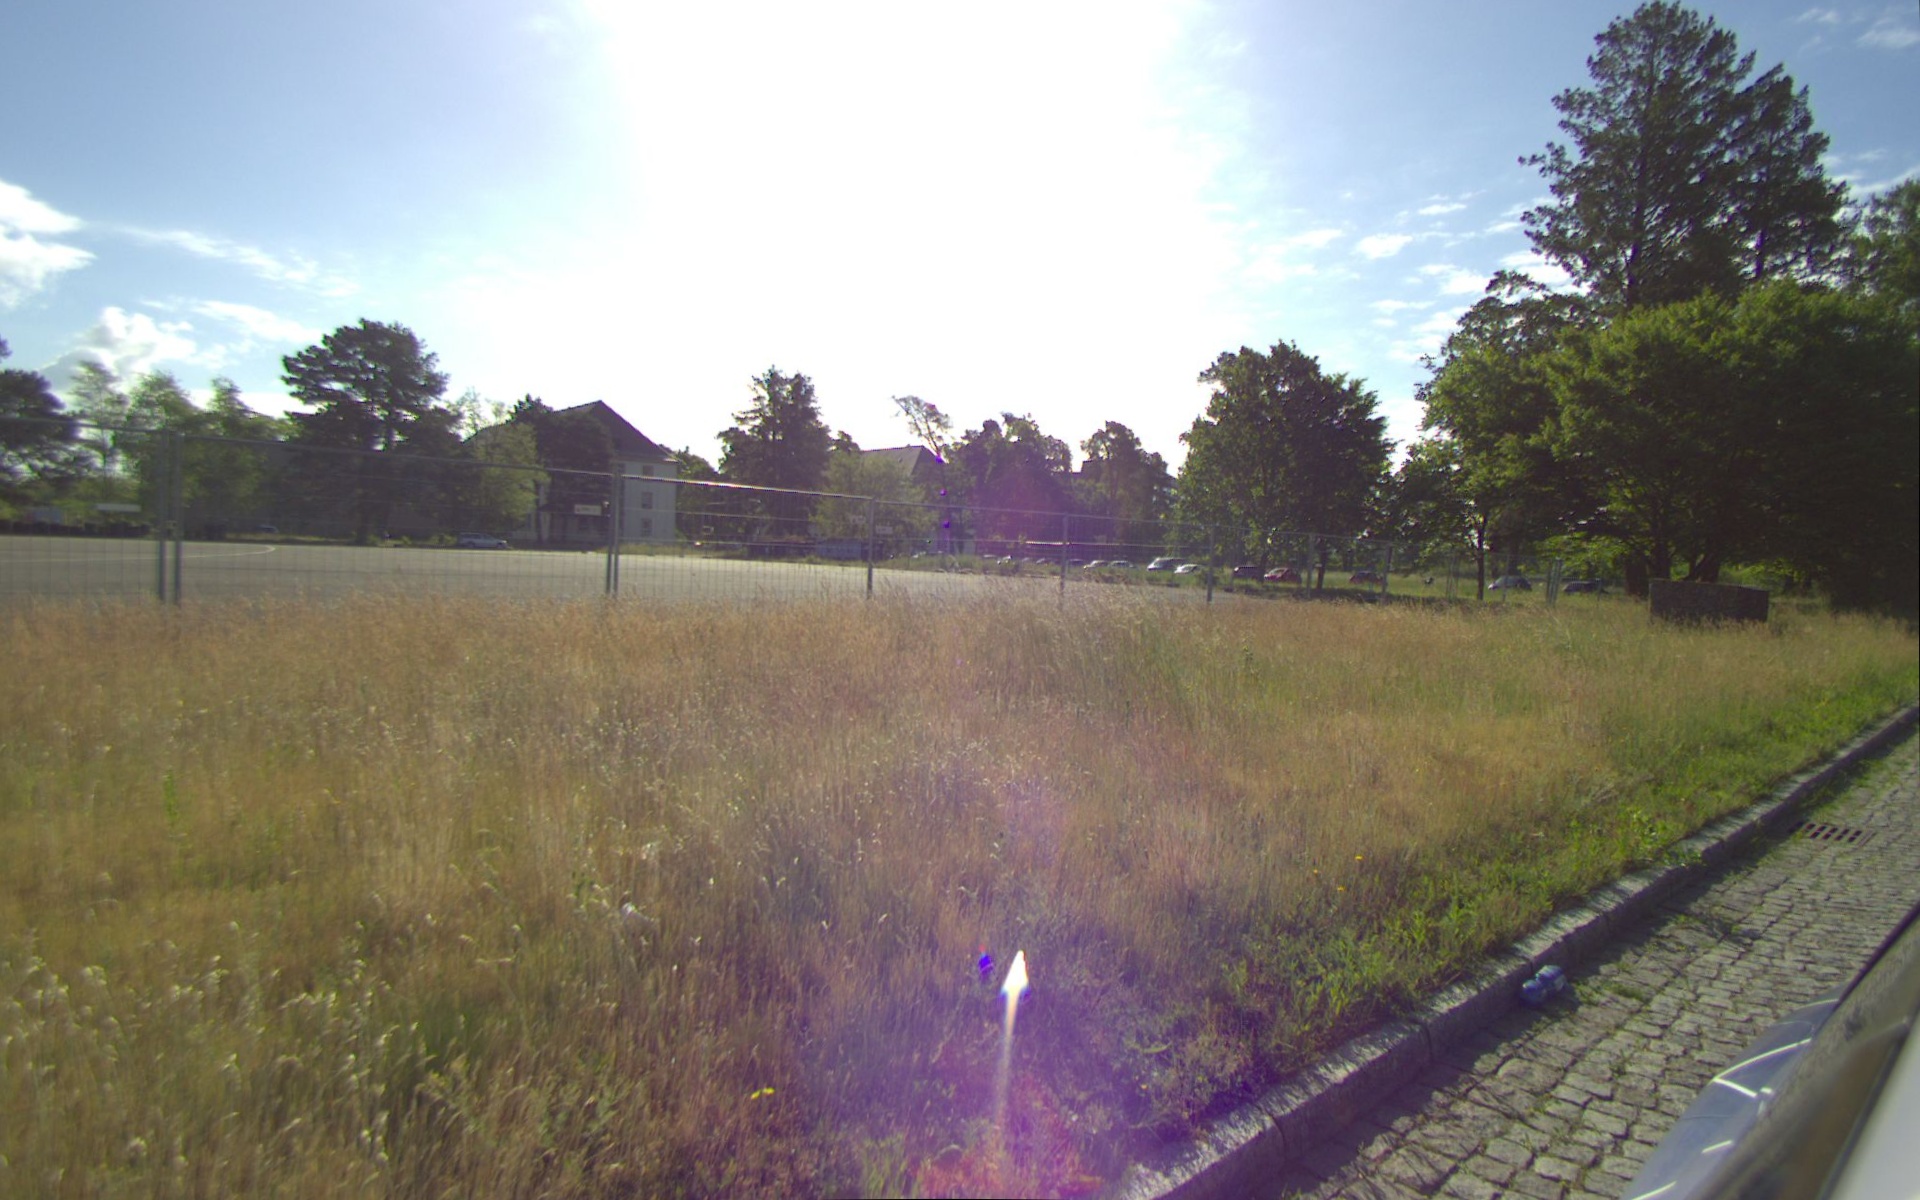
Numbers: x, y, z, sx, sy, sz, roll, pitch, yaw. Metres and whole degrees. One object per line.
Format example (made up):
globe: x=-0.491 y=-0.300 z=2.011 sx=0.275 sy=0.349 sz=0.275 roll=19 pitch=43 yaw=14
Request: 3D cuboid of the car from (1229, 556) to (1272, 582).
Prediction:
car: x=24.423 y=-2.608 z=85.035 sx=1.992 sy=2.038 sz=3.942 roll=4 pitch=3 yaw=40

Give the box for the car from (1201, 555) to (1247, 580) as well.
car: x=23.167 y=-2.885 z=88.907 sx=3.931 sy=2.038 sz=1.998 roll=0 pitch=3 yaw=-42

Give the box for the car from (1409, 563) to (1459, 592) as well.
car: x=34.687 y=-1.638 z=74.054 sx=3.934 sy=2.038 sz=1.996 roll=0 pitch=4 yaw=-44

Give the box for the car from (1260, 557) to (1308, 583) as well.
car: x=26.581 y=-2.441 z=83.009 sx=3.933 sy=2.038 sz=1.997 roll=0 pitch=3 yaw=-43

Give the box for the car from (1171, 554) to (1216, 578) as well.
car: x=20.764 y=-2.991 z=89.978 sx=3.934 sy=1.971 sz=1.996 roll=0 pitch=4 yaw=-44

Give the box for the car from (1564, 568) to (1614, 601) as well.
car: x=40.818 y=-1.013 z=65.632 sx=1.993 sy=2.038 sz=3.940 roll=4 pitch=3 yaw=42

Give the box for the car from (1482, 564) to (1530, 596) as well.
car: x=37.618 y=-1.366 z=69.699 sx=1.993 sy=2.038 sz=3.940 roll=4 pitch=3 yaw=42

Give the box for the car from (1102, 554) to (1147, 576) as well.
car: x=15.618 y=-3.315 z=95.817 sx=3.924 sy=2.039 sz=2.000 roll=0 pitch=1 yaw=-35

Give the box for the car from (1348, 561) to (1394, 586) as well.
car: x=31.386 y=-2.020 z=77.308 sx=1.993 sy=1.838 sz=3.940 roll=5 pitch=3 yaw=42
